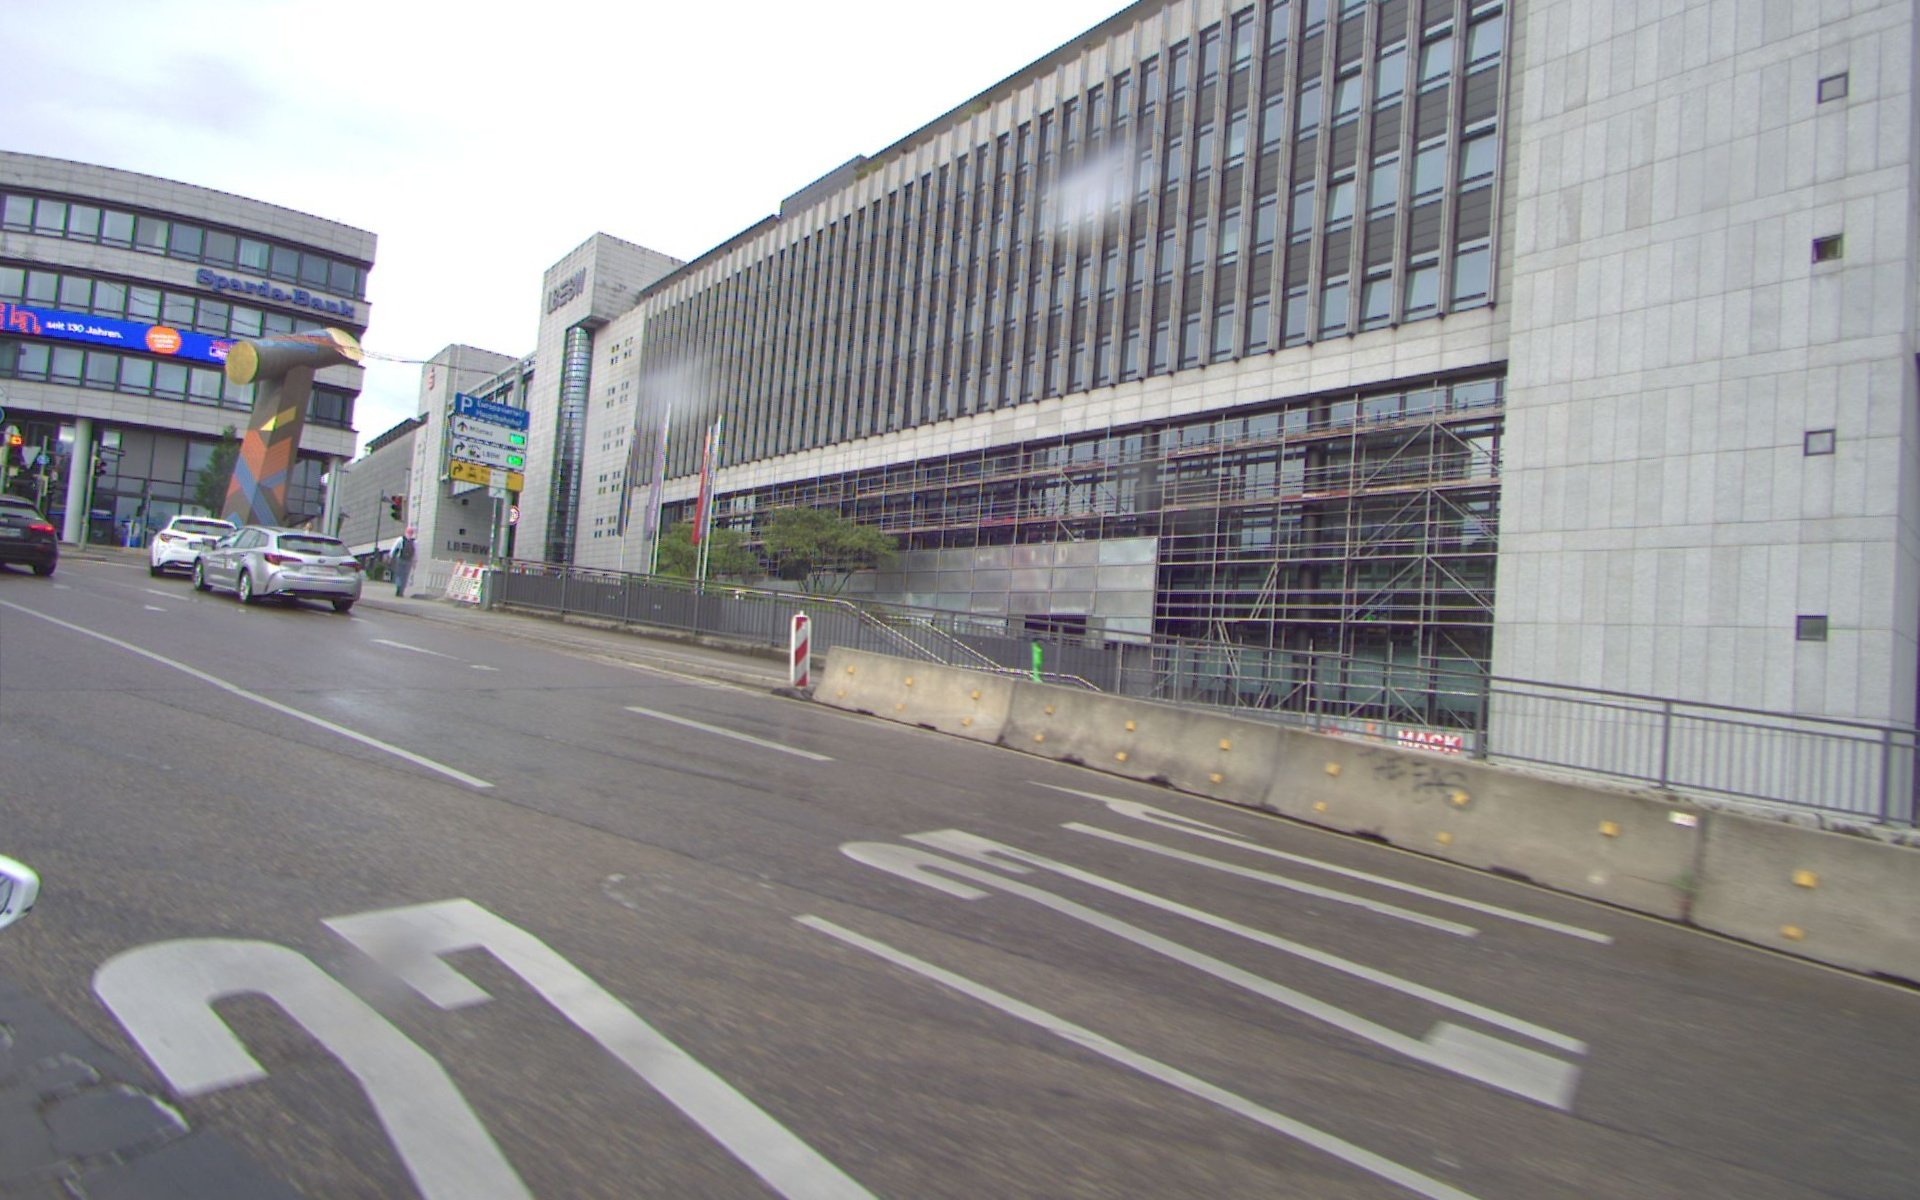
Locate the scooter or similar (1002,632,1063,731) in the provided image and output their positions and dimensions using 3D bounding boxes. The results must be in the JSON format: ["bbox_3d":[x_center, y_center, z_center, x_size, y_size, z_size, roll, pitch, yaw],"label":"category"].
[{"bbox_3d":[0.917,1.029,12.761,0.566,1.176,0.348,5,-1,45],"label":"scooter or similar"}]

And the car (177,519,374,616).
[{"bbox_3d":[-13.316,-0.667,19.481,4.547,1.468,1.701,5,-3,37],"label":"car"}]

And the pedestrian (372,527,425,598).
[{"bbox_3d":[-14.464,-0.968,25.922,0.829,1.731,0.731,4,-2,29],"label":"pedestrian"}]

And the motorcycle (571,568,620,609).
[{"bbox_3d":[-13.573,-0.401,37.533,0.595,1.371,1.729,7,0,22],"label":"motorcycle"}]

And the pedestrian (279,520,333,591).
[{"bbox_3d":[-21.350,-1.452,32.854,0.887,2.122,0.856,7,-2,7],"label":"pedestrian"}]

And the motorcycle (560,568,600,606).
[{"bbox_3d":[-14.261,-0.492,37.746,0.609,1.286,1.244,7,0,22],"label":"motorcycle"}]

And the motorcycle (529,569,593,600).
[{"bbox_3d":[-15.602,-0.597,39.419,0.623,1.095,2.569,7,2,22],"label":"motorcycle"}]

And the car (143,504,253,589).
[{"bbox_3d":[-18.393,-1.305,24.202,1.764,1.653,4.530,8,-1,-40],"label":"car"}]

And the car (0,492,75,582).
[{"bbox_3d":[-18.301,-1.276,18.695,4.162,1.423,1.757,5,-4,35],"label":"car"}]

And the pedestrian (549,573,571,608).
[{"bbox_3d":[-22.363,-0.543,56.253,0.957,1.839,0.778,6,-2,-20],"label":"pedestrian"}]
